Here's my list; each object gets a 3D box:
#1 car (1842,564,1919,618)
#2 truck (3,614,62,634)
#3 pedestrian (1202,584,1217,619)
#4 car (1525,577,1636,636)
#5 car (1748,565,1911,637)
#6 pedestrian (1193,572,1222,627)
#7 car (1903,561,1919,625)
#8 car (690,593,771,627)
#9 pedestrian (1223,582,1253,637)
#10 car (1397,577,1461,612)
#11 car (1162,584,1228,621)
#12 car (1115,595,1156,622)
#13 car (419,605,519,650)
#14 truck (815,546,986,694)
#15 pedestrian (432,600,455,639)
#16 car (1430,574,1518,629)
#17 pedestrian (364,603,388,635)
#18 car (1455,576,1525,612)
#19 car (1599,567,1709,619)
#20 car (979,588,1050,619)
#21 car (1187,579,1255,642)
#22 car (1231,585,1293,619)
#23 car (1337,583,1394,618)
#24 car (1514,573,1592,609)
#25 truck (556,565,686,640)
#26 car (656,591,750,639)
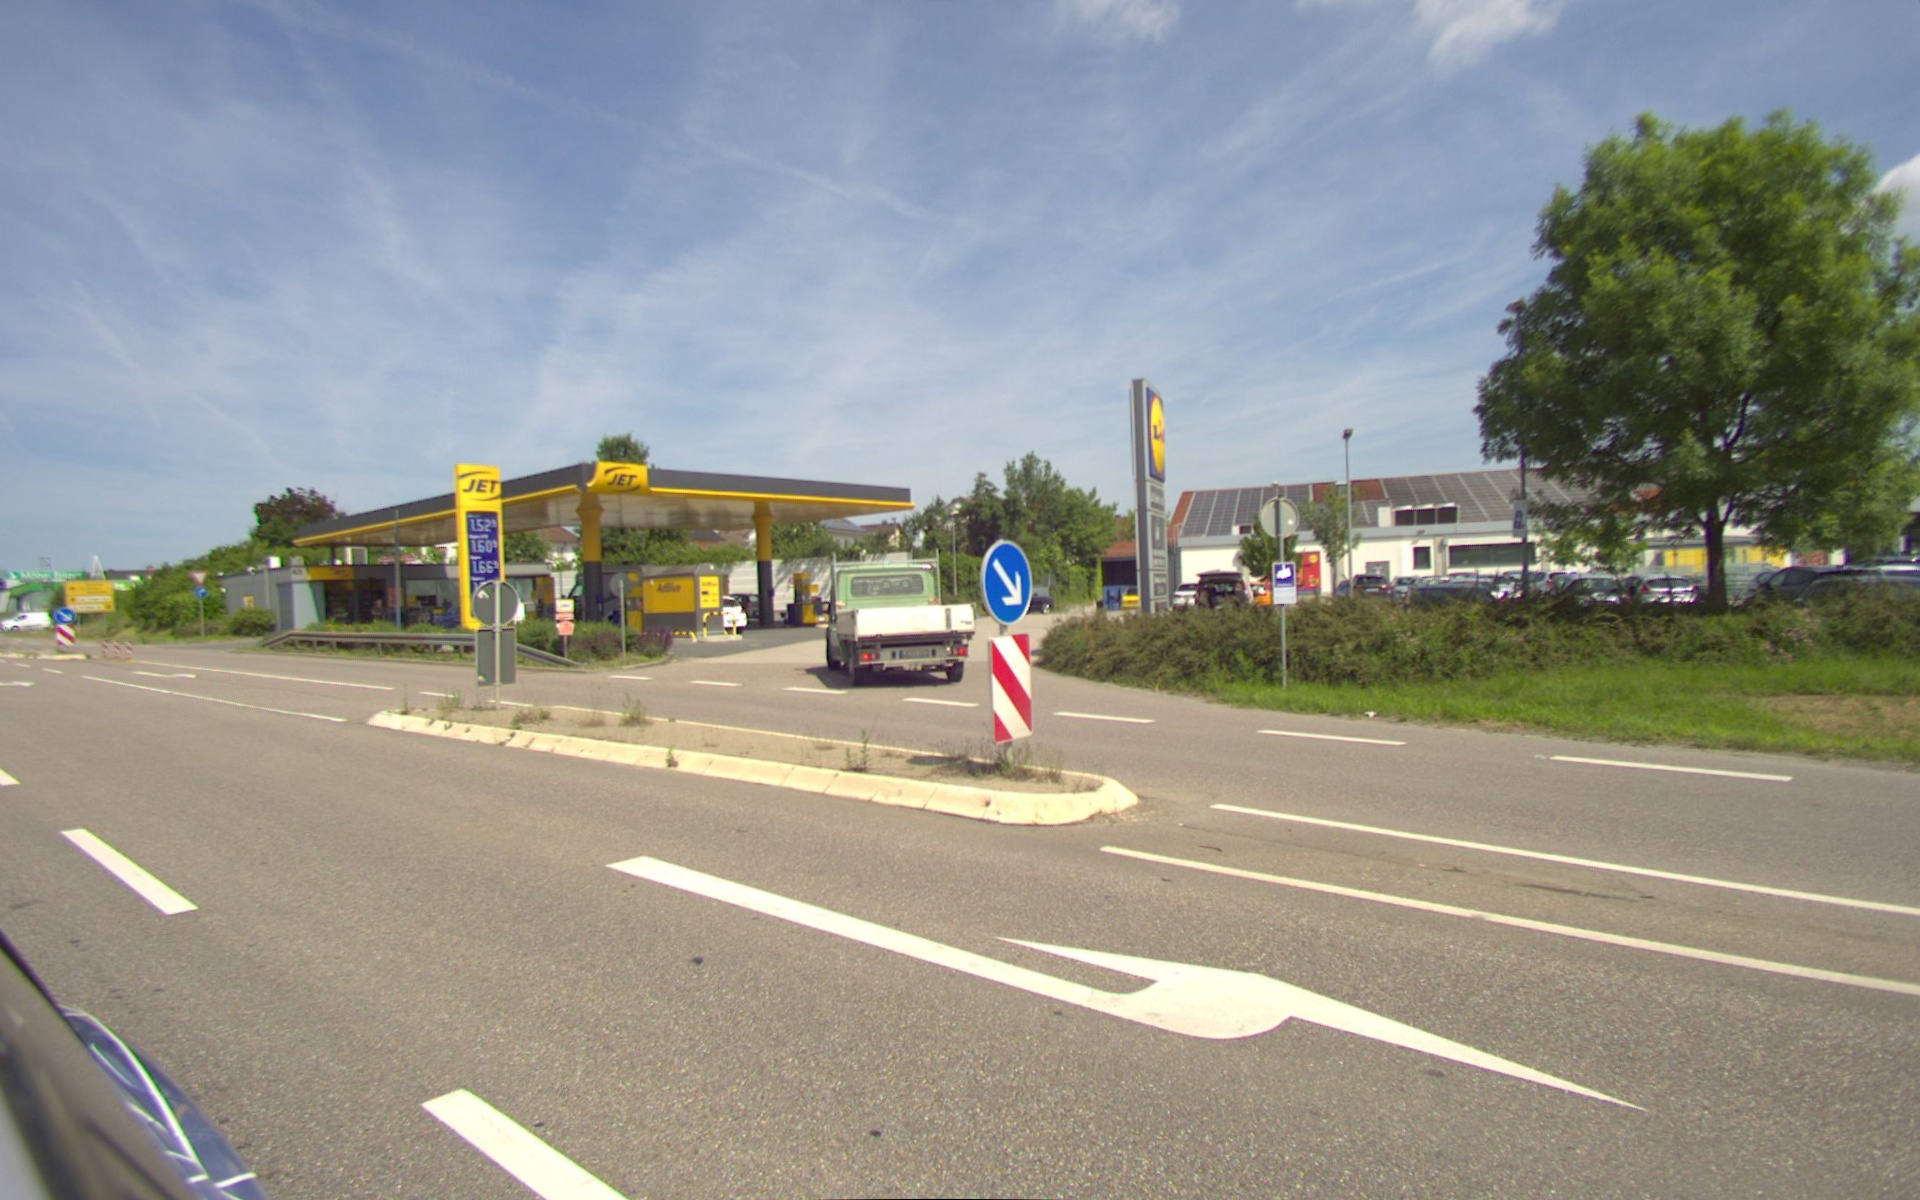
[{"bbox_3d":[28.322,-0.276,30.193,1.767,1.540,3.972,-1,0,21],"label":"car"},{"bbox_3d":[-104.797,2.705,114.351,1.998,2.024,4.711,-1,1,40],"label":"truck"},{"bbox_3d":[11.293,0.079,45.859,0.504,1.564,0.511,-1,0,33],"label":"pedestrian"},{"bbox_3d":[17.620,0.141,28.933,1.769,1.513,4.122,-2,1,18],"label":"car"},{"bbox_3d":[22.402,-0.027,26.273,1.898,1.687,3.974,-1,1,20],"label":"car"},{"bbox_3d":[7.261,-0.004,29.763,0.801,1.587,0.701,-1,0,13],"label":"pedestrian"},{"bbox_3d":[25.947,-0.189,25.392,1.912,1.701,3.973,-1,0,20],"label":"car"},{"bbox_3d":[-11.586,0.526,51.101,3.862,1.625,1.735,-2,-1,31],"label":"car"},{"bbox_3d":[8.154,0.283,29.736,0.801,1.587,0.701,-1,0,13],"label":"pedestrian"},{"bbox_3d":[21.049,-0.257,45.566,1.868,1.453,3.981,-1,1,15],"label":"car"},{"bbox_3d":[11.159,0.098,47.839,1.765,1.551,3.956,-3,0,33],"label":"car"},{"bbox_3d":[12.618,0.558,72.640,1.986,1.823,4.356,-2,0,22],"label":"car"},{"bbox_3d":[-19.985,1.118,41.163,4.258,1.719,1.975,-2,-1,38],"label":"car"},{"bbox_3d":[-1.415,0.310,19.826,2.211,2.393,6.367,-1,0,-13],"label":"truck"},{"bbox_3d":[-24.652,0.927,48.290,0.639,1.852,0.788,-2,0,41],"label":"pedestrian"},{"bbox_3d":[17.075,0.014,33.816,1.850,1.688,4.399,-2,0,17],"label":"car"},{"bbox_3d":[-27.065,0.870,46.878,0.900,1.438,0.495,-1,0,-37],"label":"pedestrian"},{"bbox_3d":[23.286,-0.289,44.598,1.868,1.453,3.981,-1,1,15],"label":"car"},{"bbox_3d":[22.010,-0.209,32.272,1.764,1.540,3.977,-1,0,17],"label":"car"},{"bbox_3d":[3.018,0.181,55.609,3.819,1.625,1.754,-1,-1,-44],"label":"car"},{"bbox_3d":[8.330,0.283,32.057,1.865,1.825,4.145,-2,0,17],"label":"car"},{"bbox_3d":[14.250,0.067,47.648,1.879,1.453,3.958,-1,1,31],"label":"car"},{"bbox_3d":[18.204,0.006,45.625,1.868,1.453,3.981,-1,1,15],"label":"car"},{"bbox_3d":[25.739,-0.413,44.086,1.868,1.453,3.981,-1,1,15],"label":"car"},{"bbox_3d":[-14.370,0.116,42.650,6.278,2.944,2.222,-1,0,40],"label":"truck"},{"bbox_3d":[-10.027,0.622,39.411,4.001,1.741,1.713,-2,-3,44],"label":"car"}]
